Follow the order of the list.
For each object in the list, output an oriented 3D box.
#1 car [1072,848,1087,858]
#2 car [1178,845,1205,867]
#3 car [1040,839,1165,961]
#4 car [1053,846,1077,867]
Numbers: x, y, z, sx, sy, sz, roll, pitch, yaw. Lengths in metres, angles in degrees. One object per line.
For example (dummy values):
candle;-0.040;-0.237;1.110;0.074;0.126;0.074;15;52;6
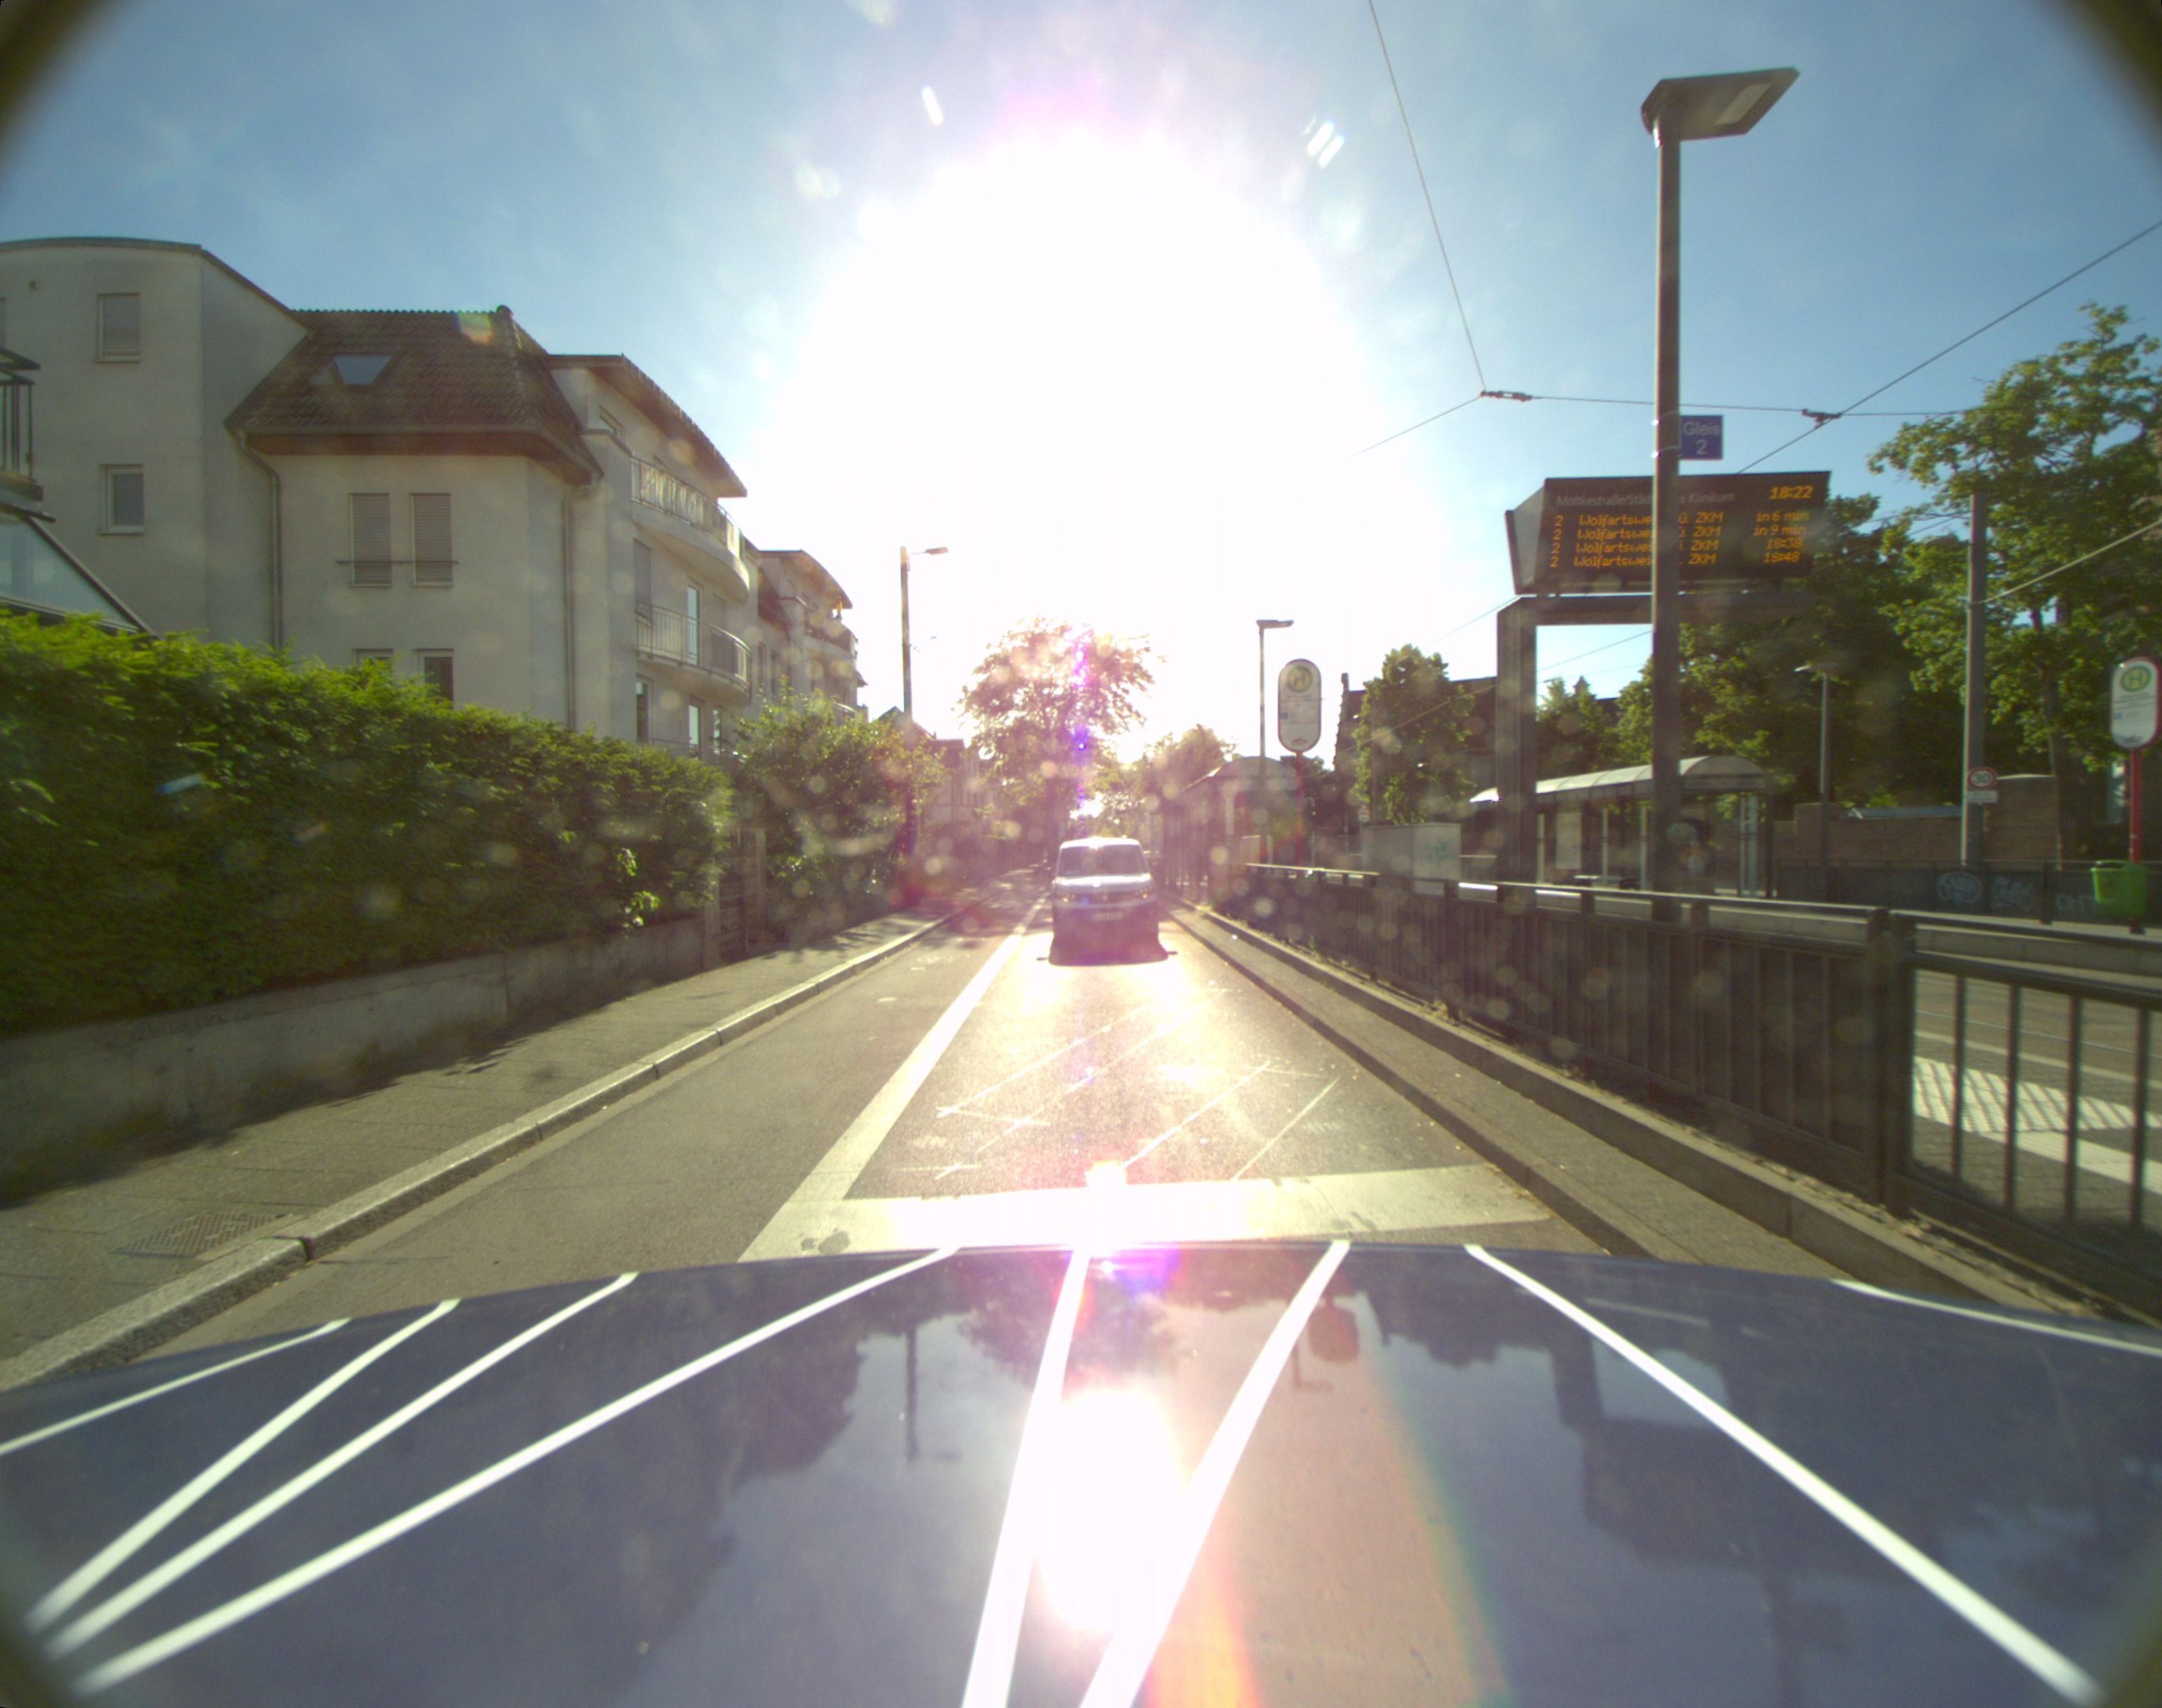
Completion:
car;-0.162;-0.146;102.496;1.719;1.332;3.918;-1;1;5
car;8.961;0.133;61.885;1.910;1.667;4.359;-1;1;4
car;0.366;0.674;13.777;1.832;1.788;4.333;-3;1;1
car;-1.436;0.221;68.102;1.998;1.733;4.170;-1;1;0
